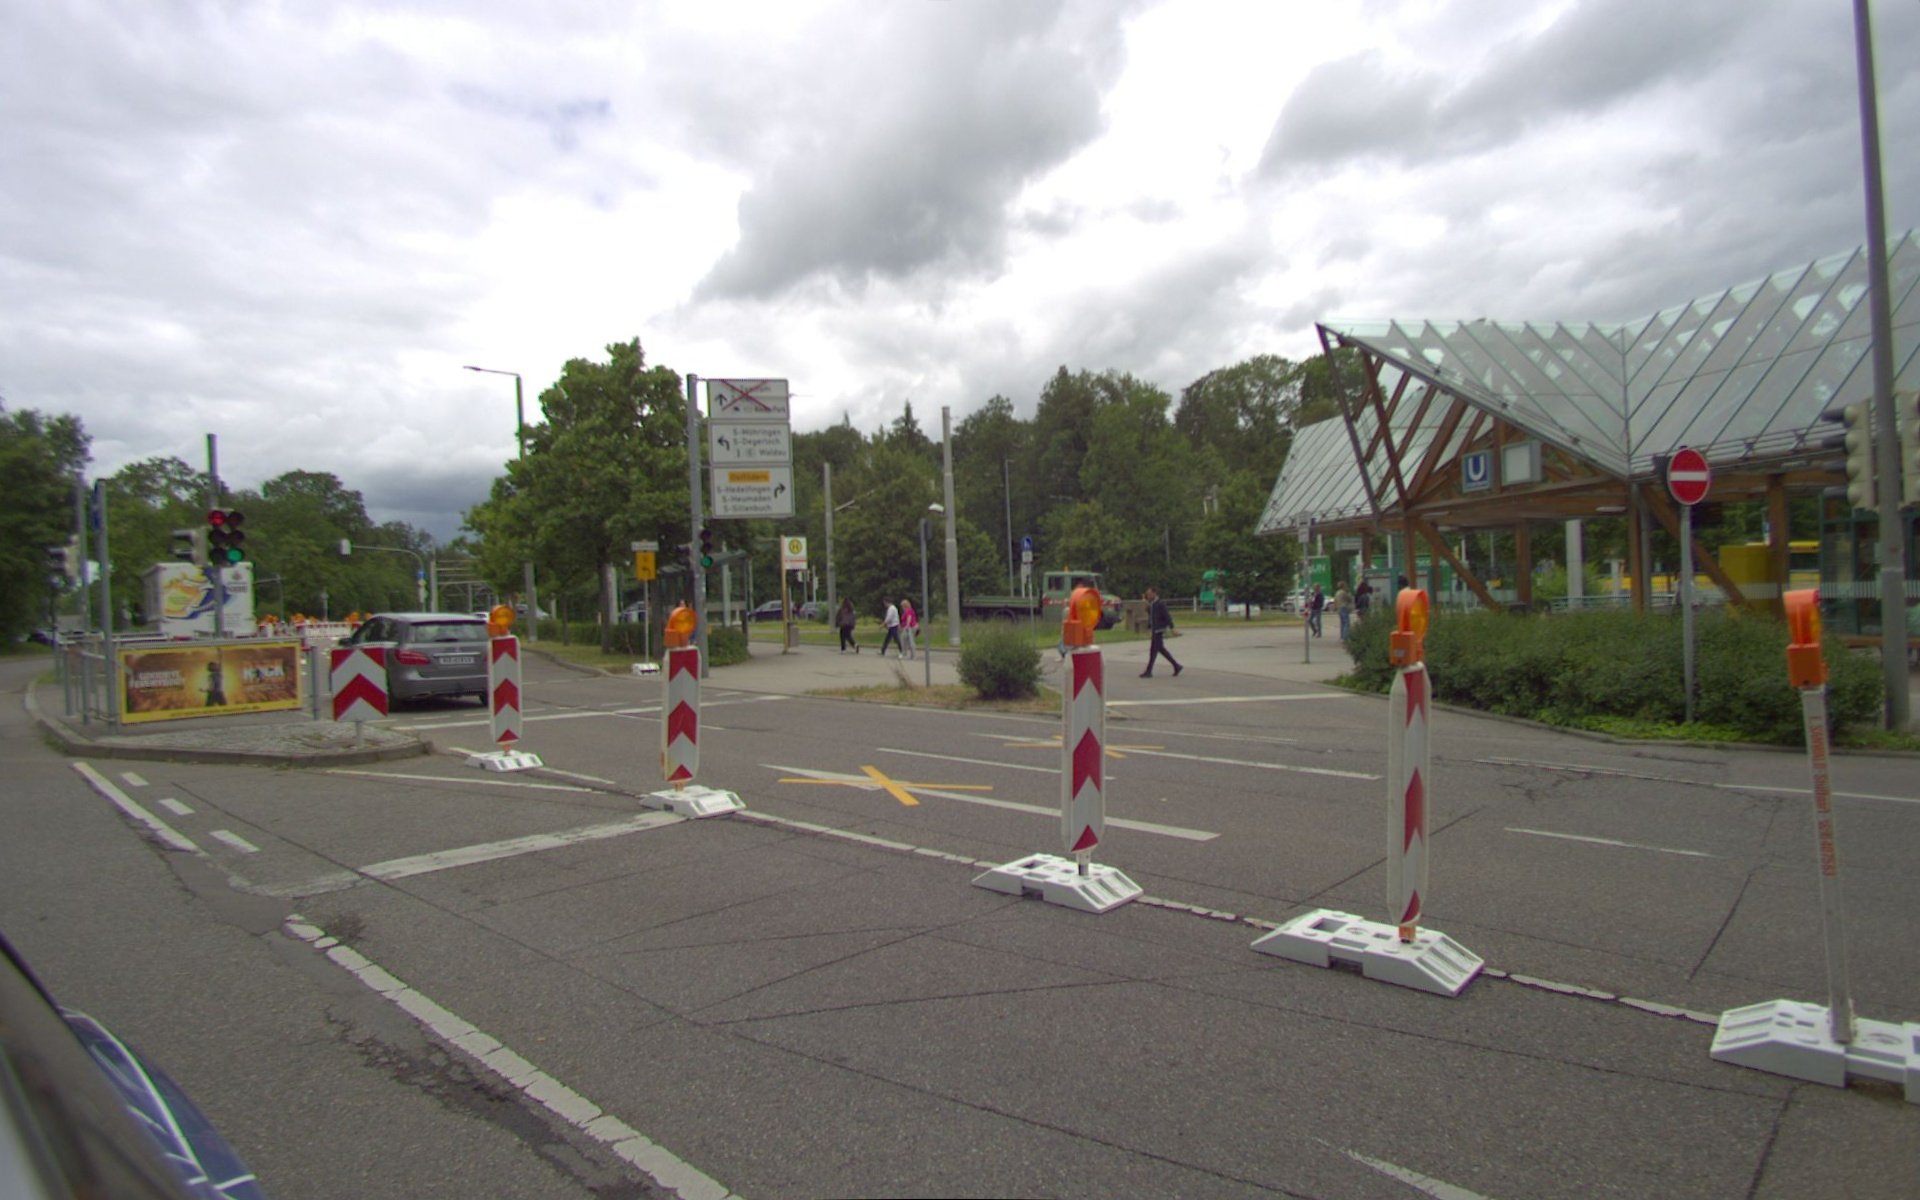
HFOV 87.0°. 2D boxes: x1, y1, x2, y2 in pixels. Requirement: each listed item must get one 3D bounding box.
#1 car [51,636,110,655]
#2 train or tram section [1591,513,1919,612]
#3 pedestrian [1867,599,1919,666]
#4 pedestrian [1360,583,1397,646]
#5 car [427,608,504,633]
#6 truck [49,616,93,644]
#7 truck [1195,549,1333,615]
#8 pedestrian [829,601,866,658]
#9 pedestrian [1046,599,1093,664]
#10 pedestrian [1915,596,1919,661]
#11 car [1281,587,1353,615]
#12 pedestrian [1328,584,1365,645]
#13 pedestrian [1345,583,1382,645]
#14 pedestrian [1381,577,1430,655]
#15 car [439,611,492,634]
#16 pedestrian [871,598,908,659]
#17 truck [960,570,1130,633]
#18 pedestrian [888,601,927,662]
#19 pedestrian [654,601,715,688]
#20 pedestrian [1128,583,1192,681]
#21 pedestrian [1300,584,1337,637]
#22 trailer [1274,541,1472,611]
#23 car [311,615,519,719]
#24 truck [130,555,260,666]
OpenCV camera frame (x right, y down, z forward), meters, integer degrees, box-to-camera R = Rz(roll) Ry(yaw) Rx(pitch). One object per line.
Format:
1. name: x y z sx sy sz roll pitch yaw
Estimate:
1. car: -85.270 4.414 98.138 4.397 1.607 1.877 -3 0 7
2. train or tram section: 45.835 -2.099 55.965 18.462 4.567 3.579 -3 0 8
3. pedestrian: 14.730 0.504 15.908 0.540 0.991 0.567 -3 0 -34
4. pedestrian: 11.155 0.387 26.982 0.663 1.637 0.585 -3 0 -35
5. car: -37.517 1.567 76.842 4.845 1.599 1.956 -3 0 3
6. truck: -110.627 3.729 126.048 2.701 3.235 6.693 -3 1 -30
7. truck: 20.820 -1.212 69.662 8.698 3.910 3.767 -3 0 18
8. pedestrian: -3.209 0.838 28.804 0.764 1.557 0.629 -3 2 -39
9. pedestrian: 2.712 0.779 25.104 0.872 1.536 0.760 -3 0 30
10. pedestrian: 15.047 0.426 15.430 0.548 0.991 0.567 -3 0 -34
11. car: 22.627 0.064 64.265 3.957 1.499 1.764 -3 0 11
12. pedestrian: 10.809 0.401 28.309 0.663 1.637 0.585 -3 0 -10
13. pedestrian: 11.016 0.379 27.647 0.663 1.637 0.585 -3 0 -10
14. pedestrian: 9.435 0.329 21.451 0.663 1.608 0.676 -3 0 0
15. car: -42.651 1.969 87.281 3.754 1.735 1.852 -3 0 13
16. pedestrian: -2.002 0.804 28.786 0.860 1.678 0.684 -3 0 7
17. truck: 3.390 0.060 40.313 6.257 2.186 2.590 -3 0 21
18. pedestrian: -1.420 0.847 27.385 0.769 1.563 0.787 -3 0 18
19. pedestrian: -5.495 0.869 20.250 0.898 1.689 1.093 -1 0 0
20. pedestrian: 3.894 0.604 19.785 0.980 1.822 0.767 -3 0 -3
21. pedestrian: 11.273 0.333 31.796 0.773 1.637 0.770 -3 1 -44
22. trailer: 27.187 -1.531 67.520 11.770 3.910 3.767 -3 0 18
23. car: -9.296 1.020 17.127 4.307 1.520 1.788 -1 -1 42
24. truck: -24.903 0.382 32.833 2.598 3.263 6.210 1 -2 -44
